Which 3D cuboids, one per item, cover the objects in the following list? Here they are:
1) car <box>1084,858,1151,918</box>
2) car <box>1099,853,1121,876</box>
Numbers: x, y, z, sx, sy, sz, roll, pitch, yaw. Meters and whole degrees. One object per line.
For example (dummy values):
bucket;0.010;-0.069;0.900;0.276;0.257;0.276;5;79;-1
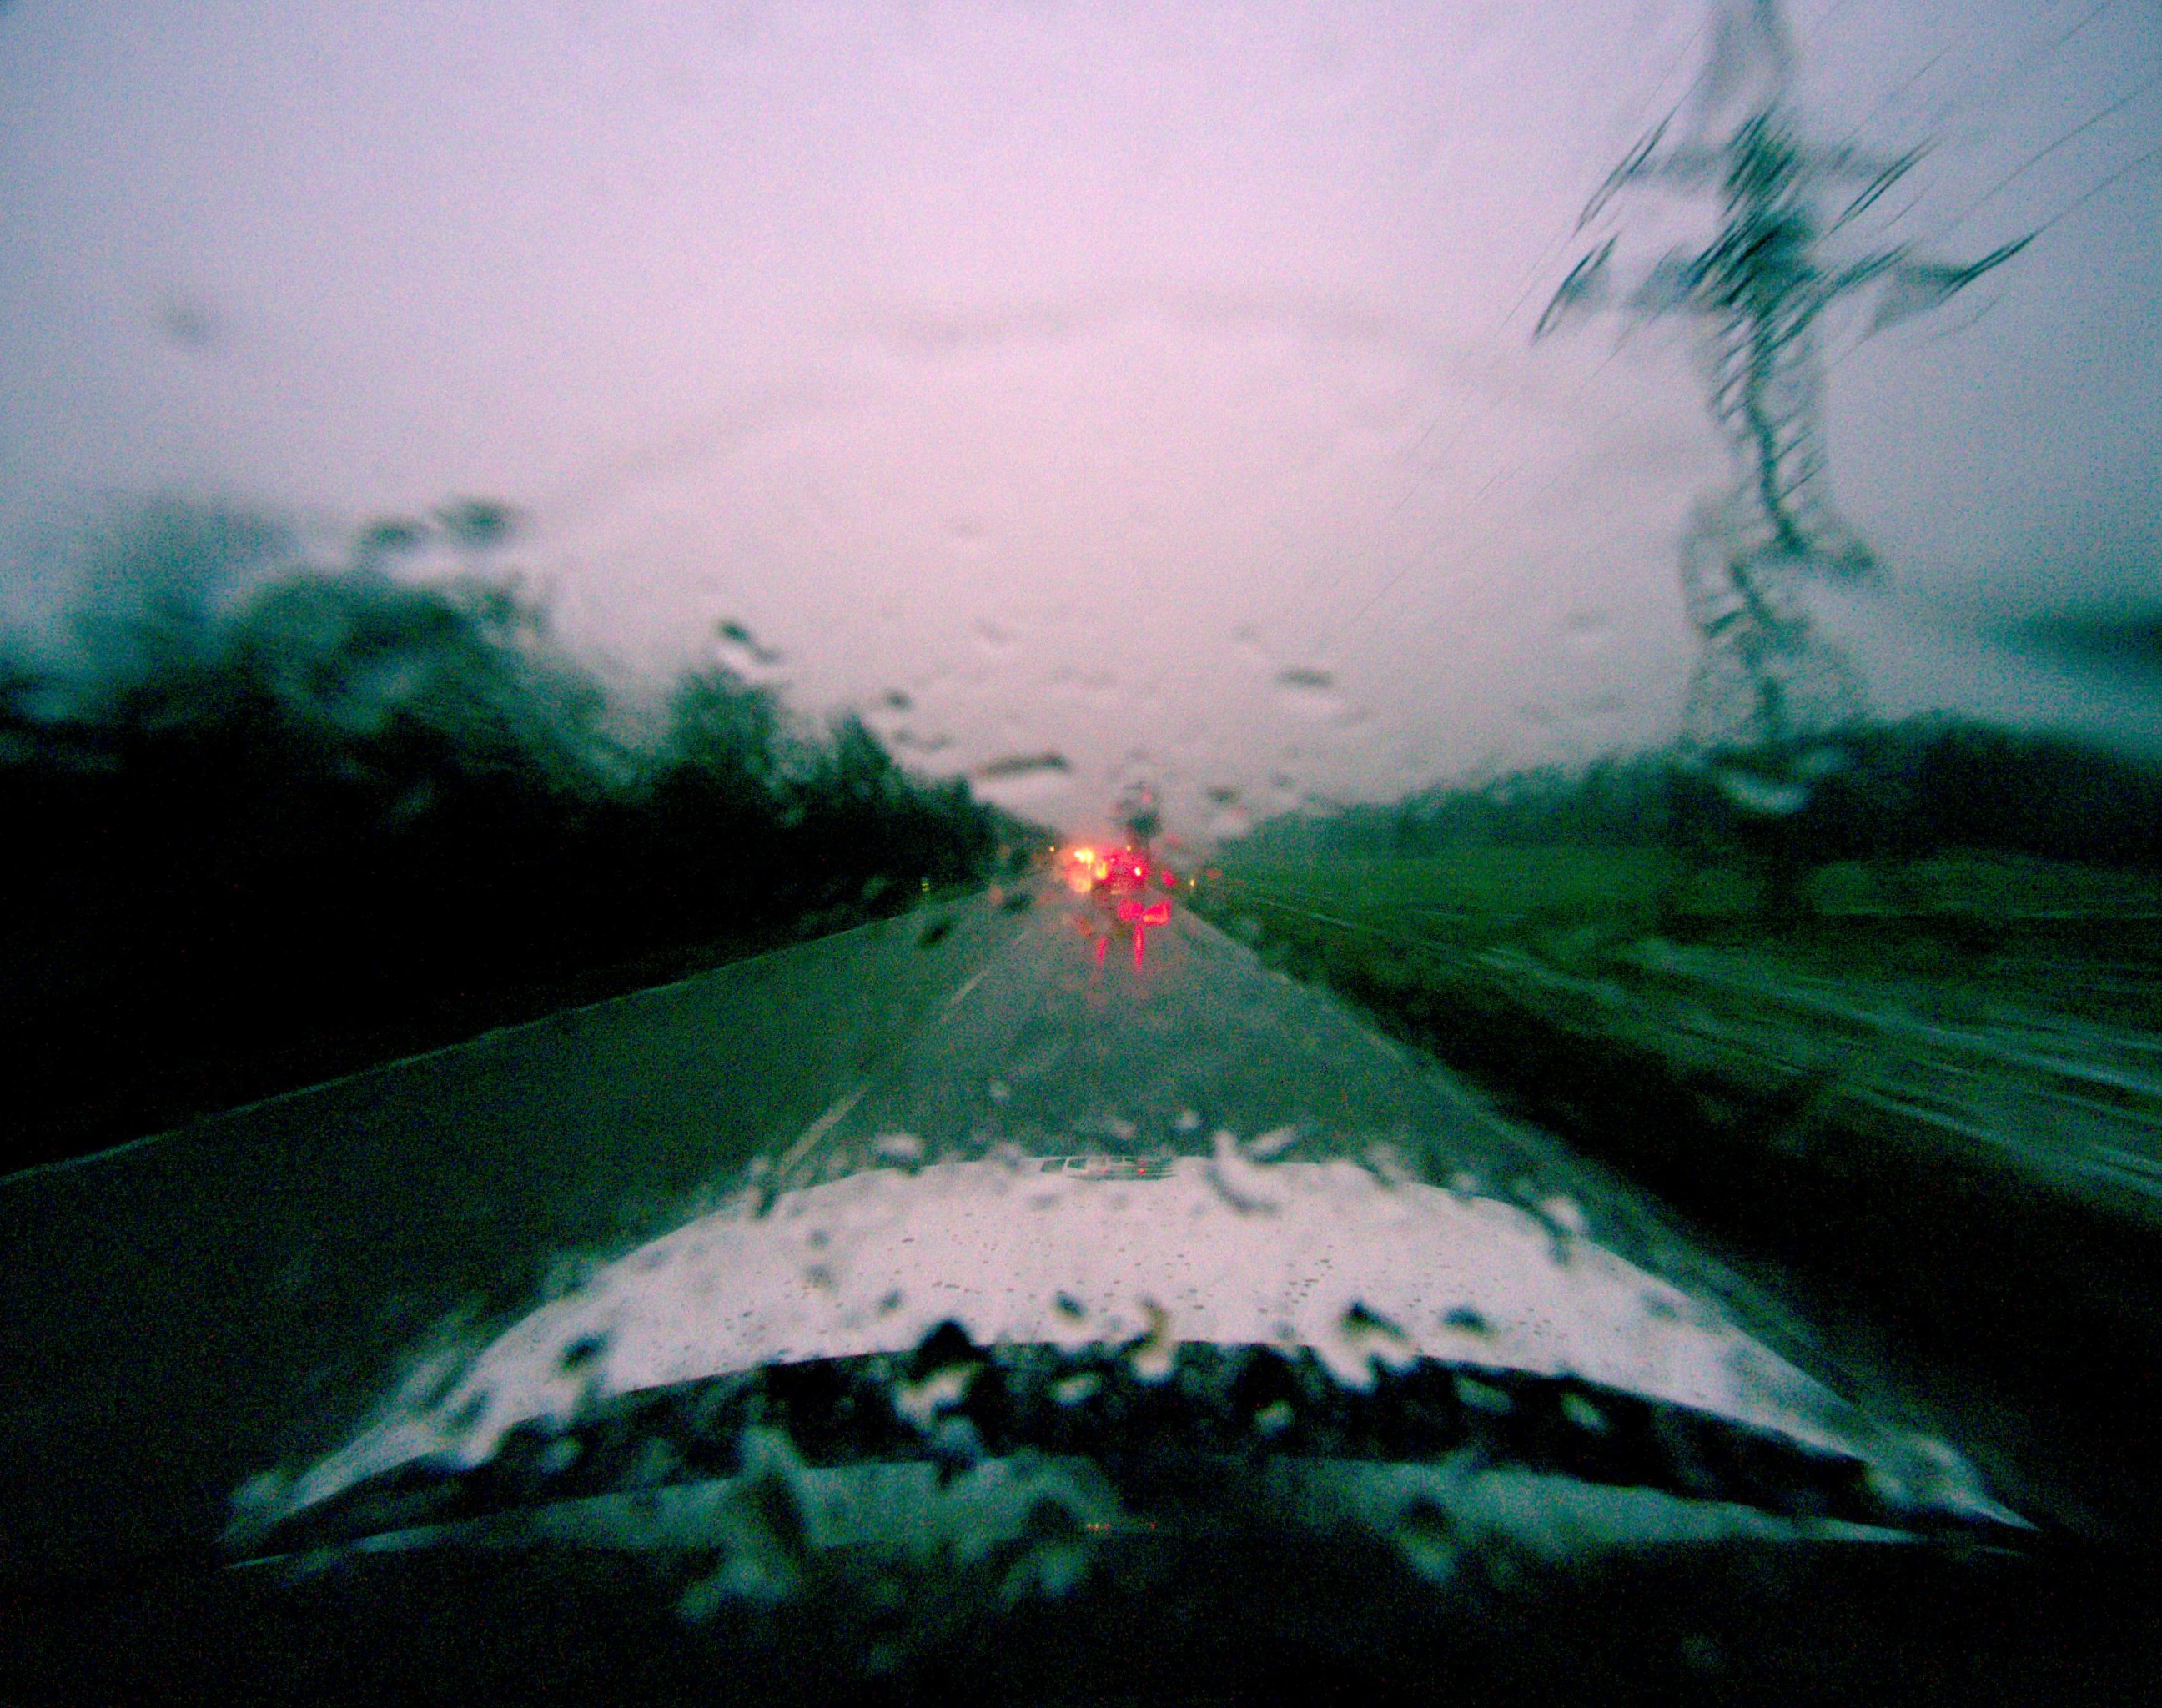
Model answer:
car;1.161;1.033;26.489;1.986;1.752;4.001;-1;0;1
car;2.736;0.960;75.990;1.986;2.013;4.002;-1;1;2
